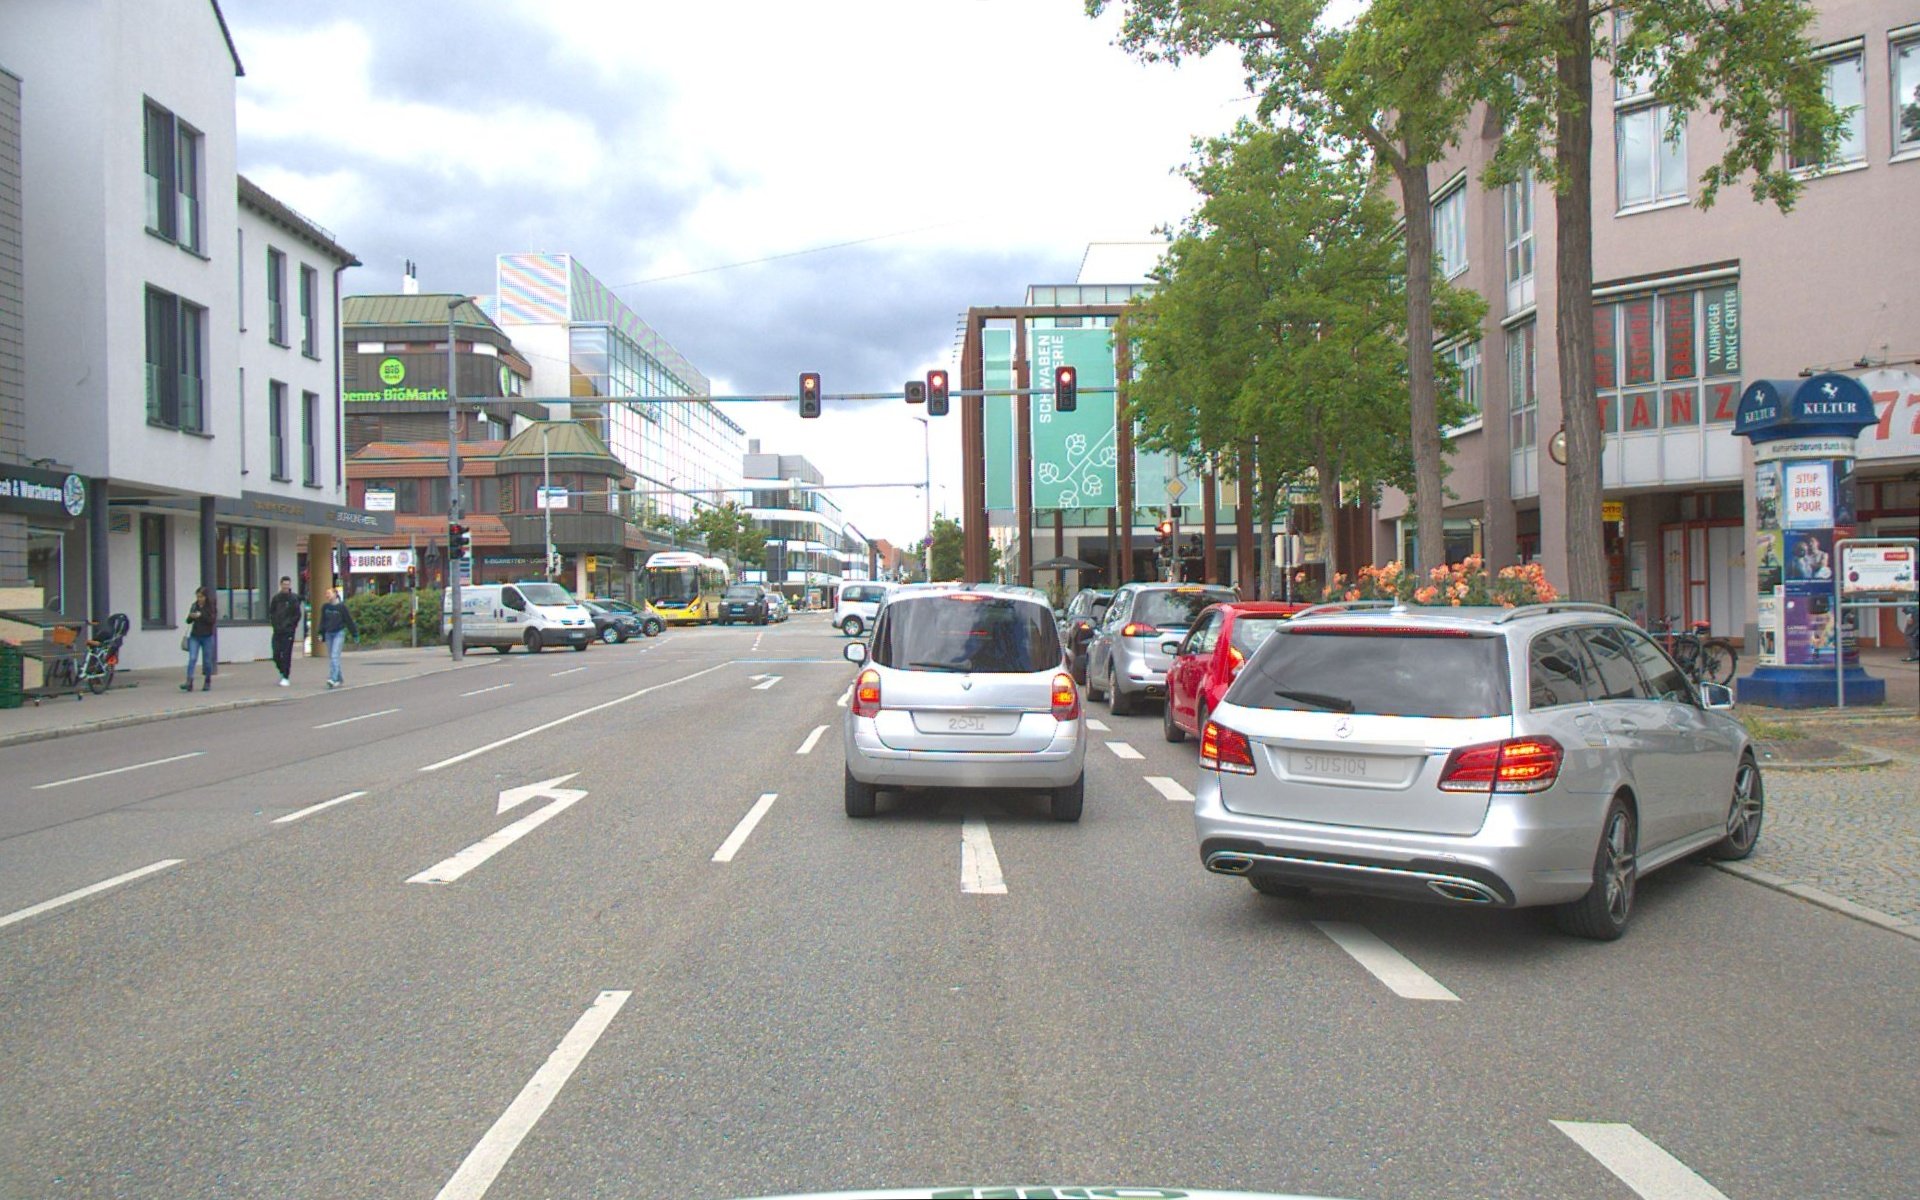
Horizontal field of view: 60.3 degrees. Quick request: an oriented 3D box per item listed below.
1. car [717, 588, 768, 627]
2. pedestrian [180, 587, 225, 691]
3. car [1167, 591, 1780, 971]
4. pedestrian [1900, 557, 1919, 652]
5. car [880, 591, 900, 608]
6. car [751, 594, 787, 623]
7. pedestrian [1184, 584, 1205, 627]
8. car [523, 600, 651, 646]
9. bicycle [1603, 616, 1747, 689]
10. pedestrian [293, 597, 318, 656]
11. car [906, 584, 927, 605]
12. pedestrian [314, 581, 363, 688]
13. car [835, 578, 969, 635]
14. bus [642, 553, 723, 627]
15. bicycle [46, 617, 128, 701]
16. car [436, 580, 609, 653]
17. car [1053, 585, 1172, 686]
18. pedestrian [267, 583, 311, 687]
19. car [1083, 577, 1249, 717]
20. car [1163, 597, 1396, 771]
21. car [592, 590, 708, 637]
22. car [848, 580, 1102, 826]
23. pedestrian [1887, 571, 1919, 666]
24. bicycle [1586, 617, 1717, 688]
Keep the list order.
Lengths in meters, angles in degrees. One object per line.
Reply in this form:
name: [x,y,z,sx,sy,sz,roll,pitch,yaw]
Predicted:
car: [-9.996,0.313,76.226,1.953,1.735,4.063,0,0,-2]
pedestrian: [-12.388,0.631,27.072,0.643,1.679,0.555,-1,0,-25]
car: [2.965,0.741,8.820,1.785,1.474,4.351,1,0,36]
pedestrian: [16.248,0.076,27.763,0.658,1.591,0.613,0,0,-38]
car: [-6.813,-0.067,161.382,1.764,1.567,4.065,0,0,1]
car: [-9.649,0.437,83.777,1.524,1.417,3.286,0,0,-2]
pedestrian: [9.154,0.203,64.559,0.641,1.679,0.557,-1,0,-15]
car: [-12.160,0.746,54.072,3.752,1.413,1.684,-1,0,0]
bicycle: [10.360,0.760,23.991,1.861,1.014,0.468,-1,0,3]
pedestrian: [-19.128,0.768,48.350,0.653,1.678,0.788,-1,0,-22]
car: [-4.086,-0.537,155.989,1.953,1.983,4.949,0,0,-2]
pedestrian: [-10.790,0.589,28.724,0.669,1.821,0.647,-1,0,-11]
car: [-1.876,0.205,54.054,4.296,1.804,1.327,-1,0,-1]
bus: [-13.101,-0.491,78.797,2.632,3.318,8.650,0,0,-2]
bicycle: [-13.397,0.884,25.424,0.378,1.207,1.824,-1,0,-4]
car: [-12.543,0.478,47.334,5.054,1.921,1.993,-2,0,36]
car: [2.598,0.569,28.925,1.555,1.623,3.866,1,0,-2]
pedestrian: [-11.752,0.603,28.983,0.558,1.806,0.646,-1,0,-8]
car: [2.647,0.566,22.022,1.555,1.662,3.915,1,0,-2]
car: [2.968,0.723,15.971,1.554,1.468,3.348,1,0,-1]
car: [-11.798,0.503,63.084,1.885,1.706,4.225,0,0,36]
car: [0.070,0.650,12.242,1.606,1.554,3.393,1,0,-1]
pedestrian: [15.741,0.297,27.260,0.605,1.542,0.613,0,0,-39]
bicycle: [10.256,0.776,24.544,1.731,1.014,0.447,-1,0,3]
